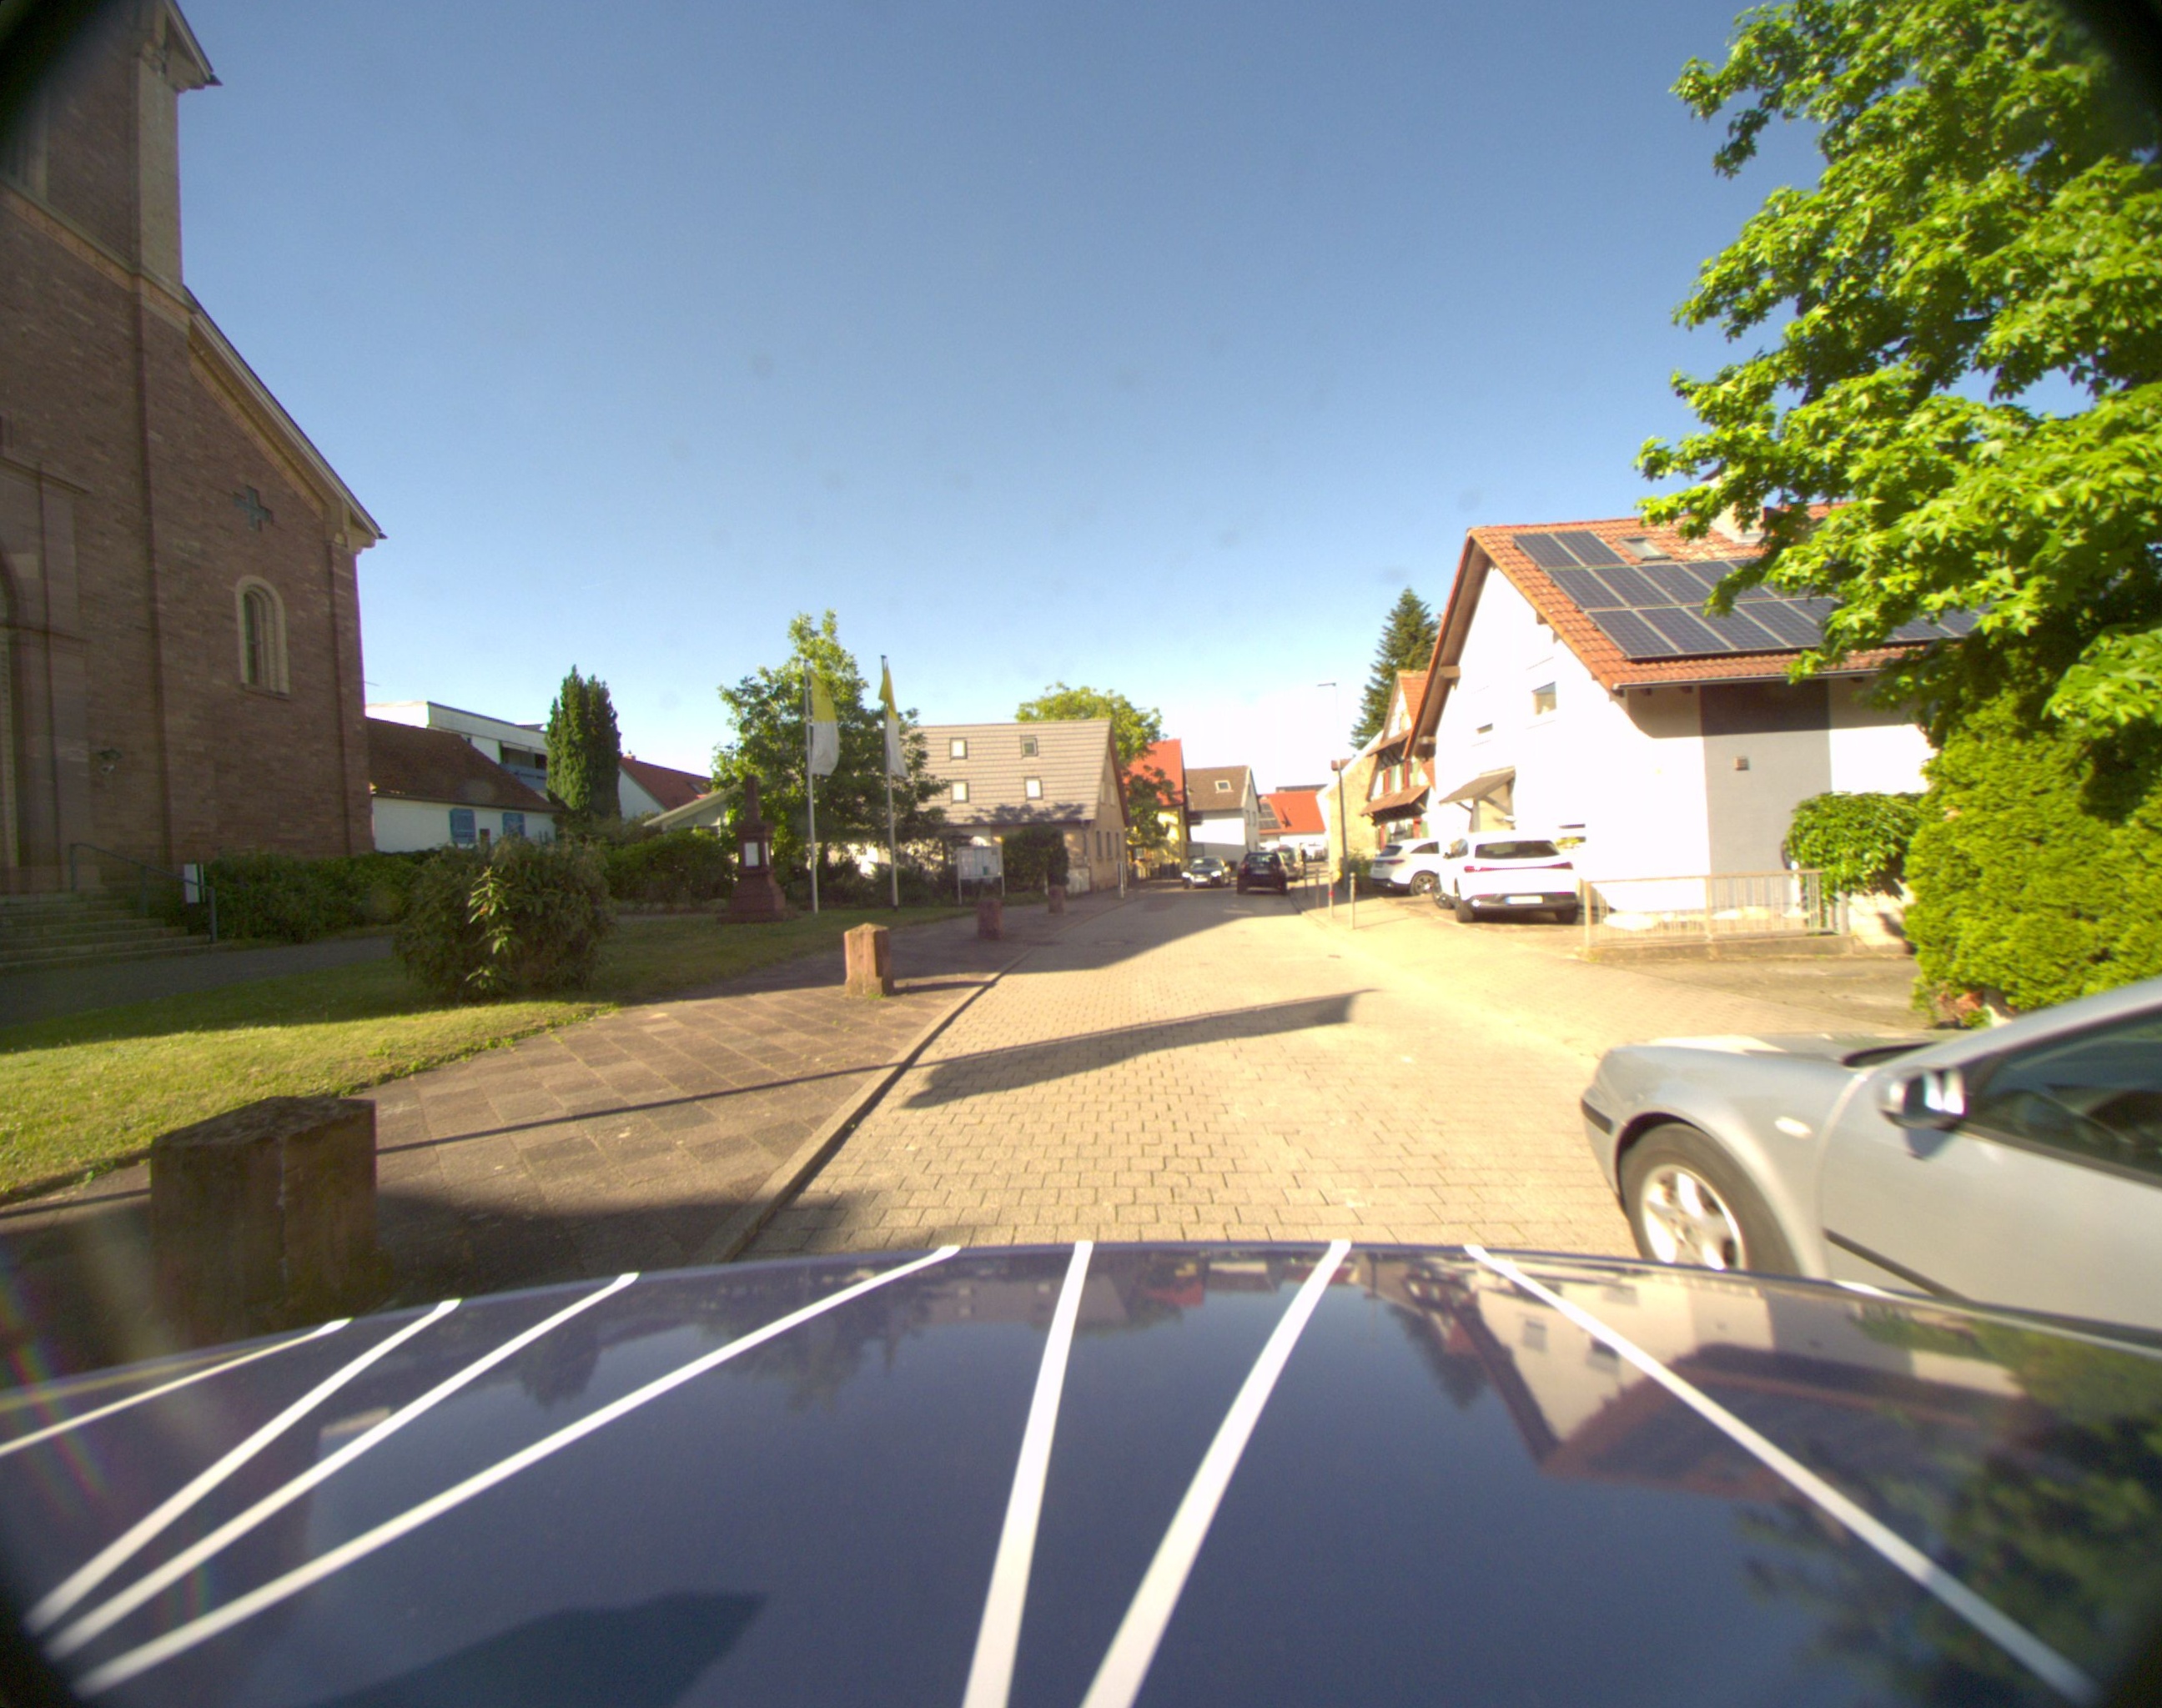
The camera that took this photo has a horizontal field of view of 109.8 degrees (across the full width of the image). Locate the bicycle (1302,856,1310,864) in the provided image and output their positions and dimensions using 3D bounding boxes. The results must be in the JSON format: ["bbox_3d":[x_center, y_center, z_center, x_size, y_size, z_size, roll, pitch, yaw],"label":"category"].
[{"bbox_3d":[21.808,0.575,73.642,0.581,0.757,1.802,-1,0,24],"label":"bicycle"}]

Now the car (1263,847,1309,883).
[{"bbox_3d":[10.758,0.538,39.771,1.834,1.779,4.359,1,0,21],"label":"car"}]

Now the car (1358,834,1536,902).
[{"bbox_3d":[10.294,0.387,21.611,3.997,1.579,2.000,-4,0,1],"label":"car"}]

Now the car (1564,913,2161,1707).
[{"bbox_3d":[2.624,0.932,0.837,1.675,1.394,3.892,-1,0,0],"label":"car"}]

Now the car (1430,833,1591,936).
[{"bbox_3d":[7.945,0.480,14.497,1.819,1.586,4.451,-4,0,19],"label":"car"}]

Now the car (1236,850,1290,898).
[{"bbox_3d":[7.041,0.702,29.195,1.835,1.661,4.357,-2,0,15],"label":"car"}]

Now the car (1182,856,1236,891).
[{"bbox_3d":[5.882,0.828,34.494,1.805,1.469,4.349,0,0,18],"label":"car"}]

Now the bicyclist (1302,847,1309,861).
[{"bbox_3d":[21.811,0.023,73.725,0.581,1.312,0.609,-1,1,24],"label":"bicyclist"}]
